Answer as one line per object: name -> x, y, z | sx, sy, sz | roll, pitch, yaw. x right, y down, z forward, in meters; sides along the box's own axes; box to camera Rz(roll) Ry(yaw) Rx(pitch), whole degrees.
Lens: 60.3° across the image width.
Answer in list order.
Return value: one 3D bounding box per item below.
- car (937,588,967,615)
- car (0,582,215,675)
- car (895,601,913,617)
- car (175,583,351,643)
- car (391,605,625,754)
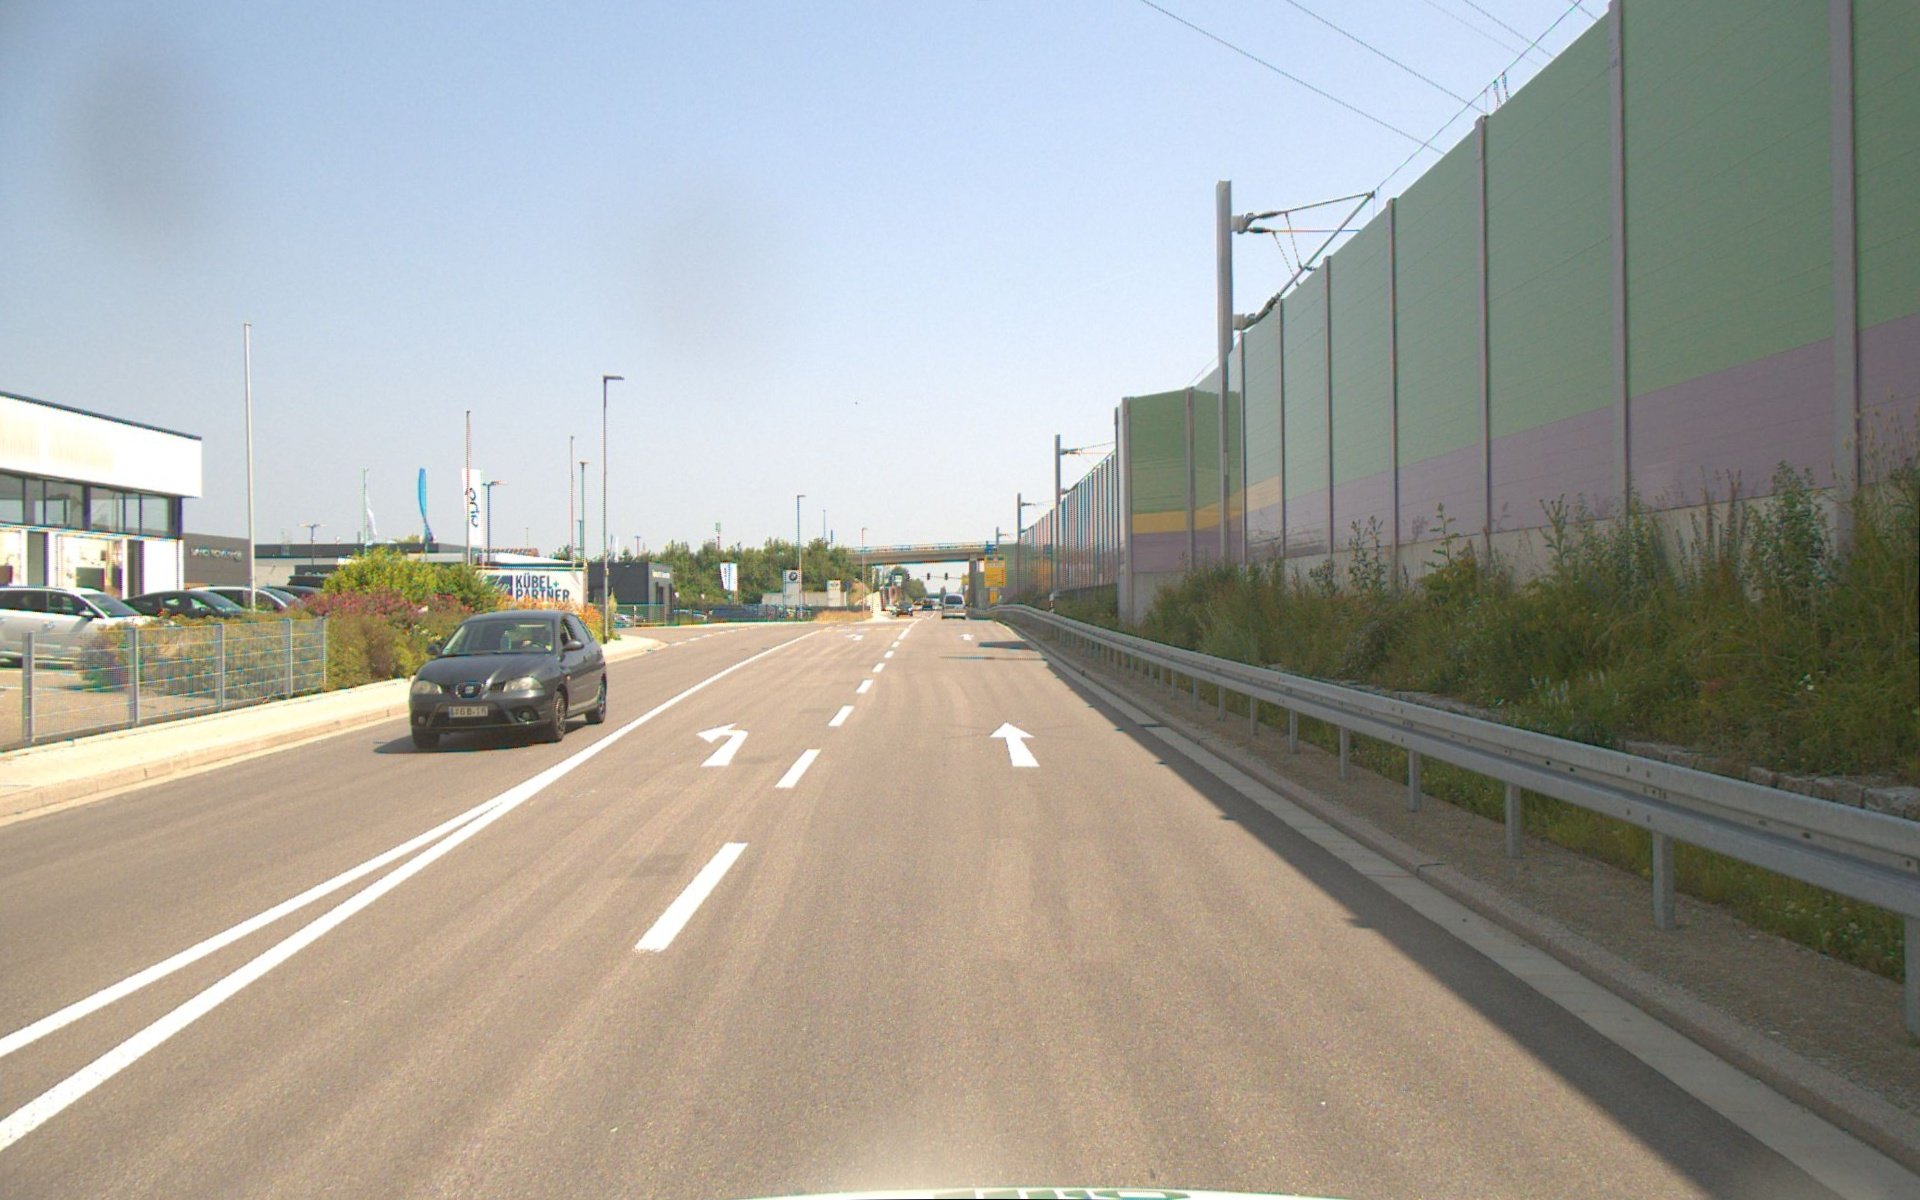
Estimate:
car -> -0.550, 0.098, 115.096 | 1.952, 1.788, 4.001 | -1, 0, 1
car -> -15.834, 0.482, 29.589 | 4.139, 1.481, 1.763 | 2, 0, -3
car -> -6.293, 0.972, 185.240 | 1.839, 1.702, 4.290 | -1, 0, 0
car -> -16.203, 0.294, 38.556 | 3.439, 1.276, 1.504 | 2, 0, -2
car -> -5.130, 0.839, 19.312 | 1.637, 1.447, 3.999 | -3, 0, -1
